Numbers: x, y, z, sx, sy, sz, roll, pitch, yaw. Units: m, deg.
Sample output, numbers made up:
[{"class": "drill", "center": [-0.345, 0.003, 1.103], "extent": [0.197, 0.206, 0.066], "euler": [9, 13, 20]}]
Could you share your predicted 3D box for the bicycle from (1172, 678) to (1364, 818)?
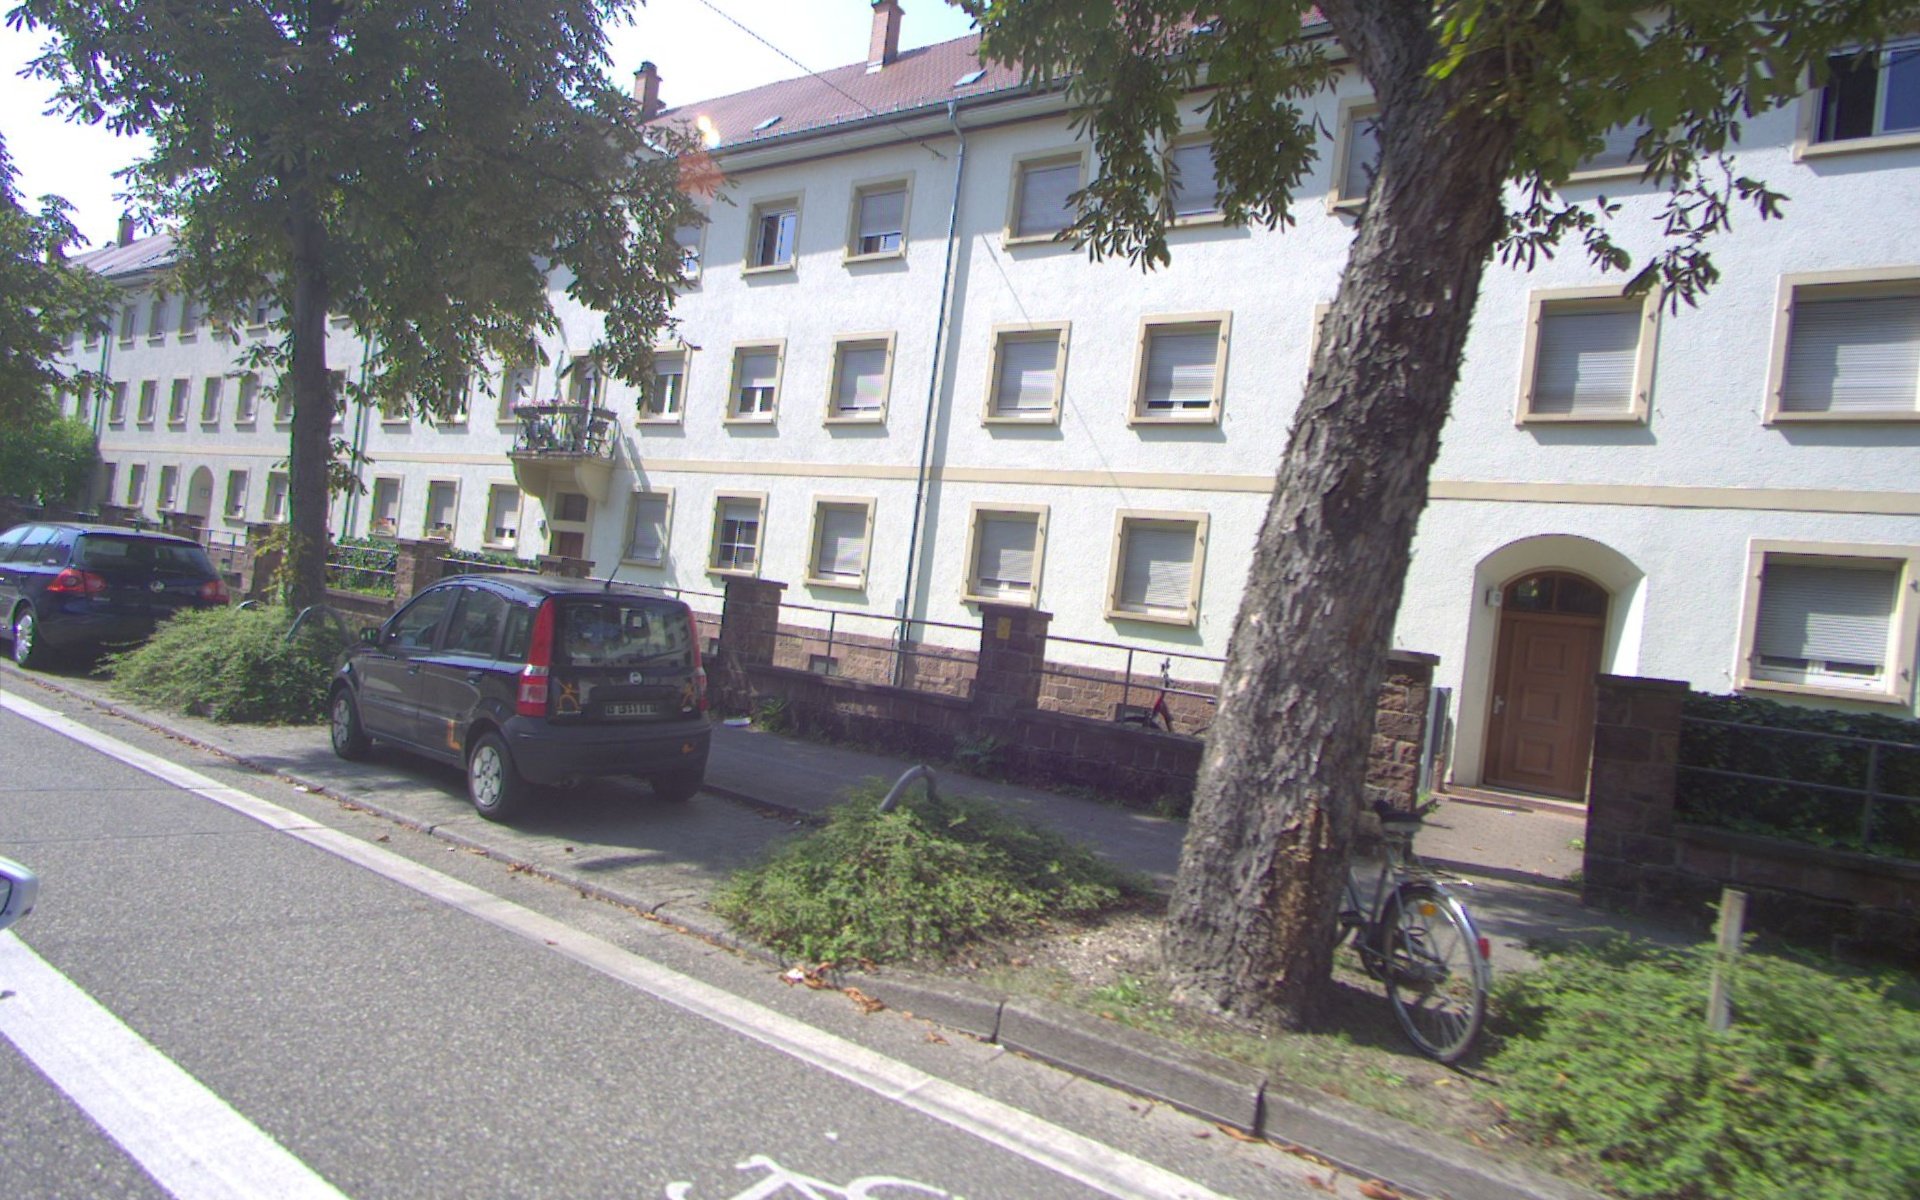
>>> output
[{"class": "bicycle", "center": [3.099, 1.457, 10.183], "extent": [1.689, 1.106, 0.469], "euler": [7, -1, 31]}]

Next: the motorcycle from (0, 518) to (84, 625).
[{"class": "motorcycle", "center": [-13.521, -0.458, 13.816], "extent": [0.769, 1.384, 2.008], "euler": [7, -1, 29]}]

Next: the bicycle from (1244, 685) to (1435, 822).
[{"class": "bicycle", "center": [3.926, 1.560, 10.466], "extent": [1.689, 1.106, 0.469], "euler": [7, -1, 31]}]

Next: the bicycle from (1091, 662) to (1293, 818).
[{"class": "bicycle", "center": [2.184, 1.294, 9.574], "extent": [1.689, 1.174, 0.469], "euler": [7, 0, 31]}]

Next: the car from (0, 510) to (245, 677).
[{"class": "car", "center": [-9.954, -0.145, 11.351], "extent": [3.973, 1.495, 1.618], "euler": [7, 0, 33]}]

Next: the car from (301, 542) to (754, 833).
[{"class": "car", "center": [-3.372, 0.517, 7.597], "extent": [3.448, 1.549, 1.616], "euler": [6, 0, 39]}]

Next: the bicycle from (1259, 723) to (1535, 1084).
[{"class": "bicycle", "center": [1.776, 1.175, 4.307], "extent": [0.382, 1.121, 1.392], "euler": [7, -1, -3]}]
